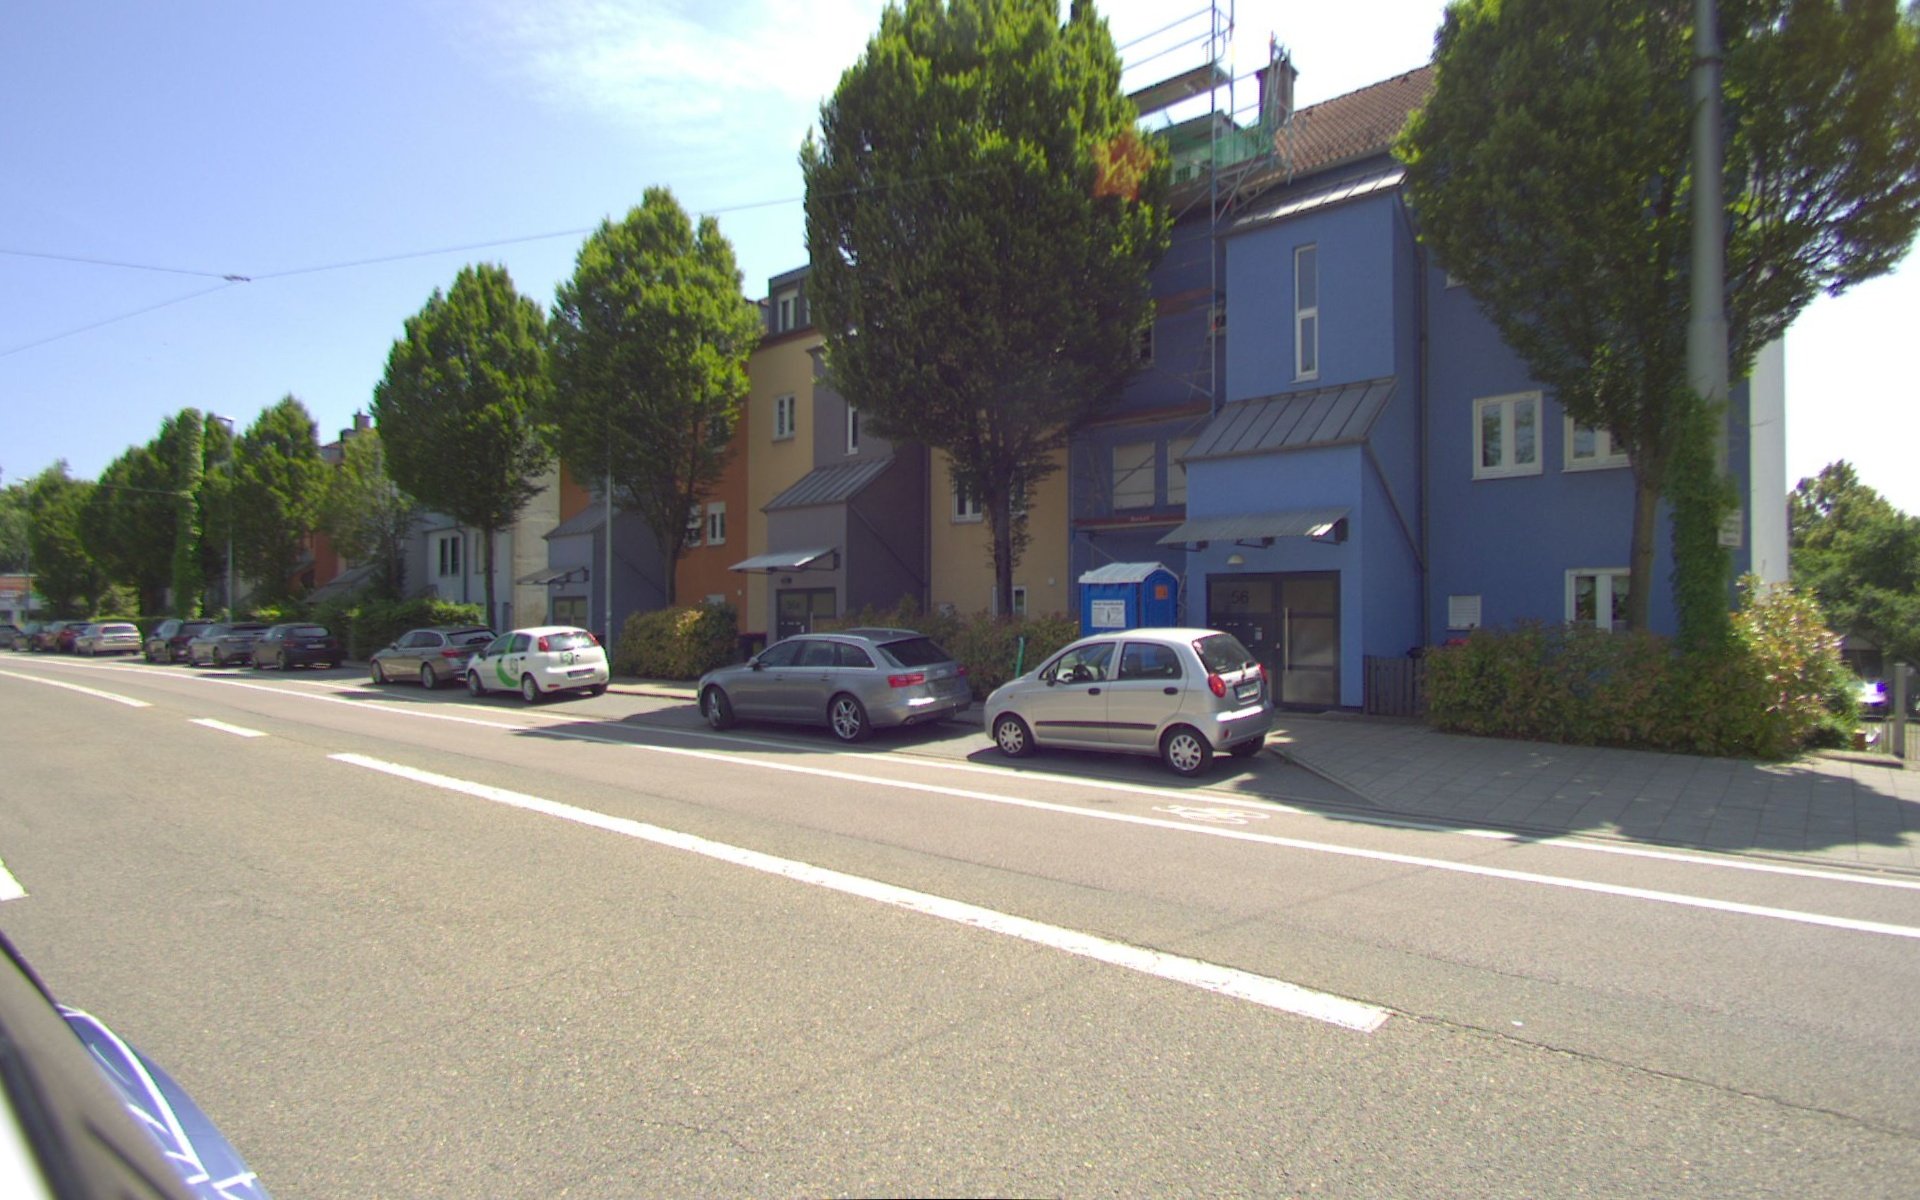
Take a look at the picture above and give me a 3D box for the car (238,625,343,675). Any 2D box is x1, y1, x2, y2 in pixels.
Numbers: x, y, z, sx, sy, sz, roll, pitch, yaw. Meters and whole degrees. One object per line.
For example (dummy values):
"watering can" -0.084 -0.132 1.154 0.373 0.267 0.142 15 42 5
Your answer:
"car" -21.766 1.562 32.848 4.254 1.443 1.732 -1 1 40

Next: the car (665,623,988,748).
"car" -2.162 1.185 15.217 5.129 1.461 1.769 -2 2 40

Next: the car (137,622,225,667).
"car" -30.546 1.719 39.658 4.142 1.601 1.750 -2 0 38

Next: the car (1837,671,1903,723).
"car" 39.086 4.116 43.562 1.999 1.730 3.946 0 1 41

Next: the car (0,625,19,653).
"car" -55.905 2.283 58.227 4.135 1.549 1.848 -2 0 36

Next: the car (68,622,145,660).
"car" -39.417 1.882 46.688 4.490 1.594 1.822 -2 0 38

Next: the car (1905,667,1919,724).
"car" 40.574 3.965 41.858 1.999 2.029 3.946 0 1 41

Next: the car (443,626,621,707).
"car" -9.358 1.368 21.969 4.418 1.453 1.728 -2 3 41

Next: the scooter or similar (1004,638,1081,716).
"scooter or similar" 1.287 1.186 15.851 1.183 1.154 0.449 -2 -2 43

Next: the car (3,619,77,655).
"car" -48.411 1.910 53.234 4.549 1.808 1.976 -1 -1 36

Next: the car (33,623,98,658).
"car" -44.262 2.000 50.074 3.673 1.606 1.586 -2 0 35

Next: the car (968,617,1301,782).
"car" 1.940 1.029 11.765 3.447 1.506 1.577 -1 3 41

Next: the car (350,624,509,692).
"car" -13.473 1.416 25.567 4.744 1.440 1.688 -2 3 38

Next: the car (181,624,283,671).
"car" -25.978 1.652 36.052 4.752 1.507 1.807 -2 0 39
